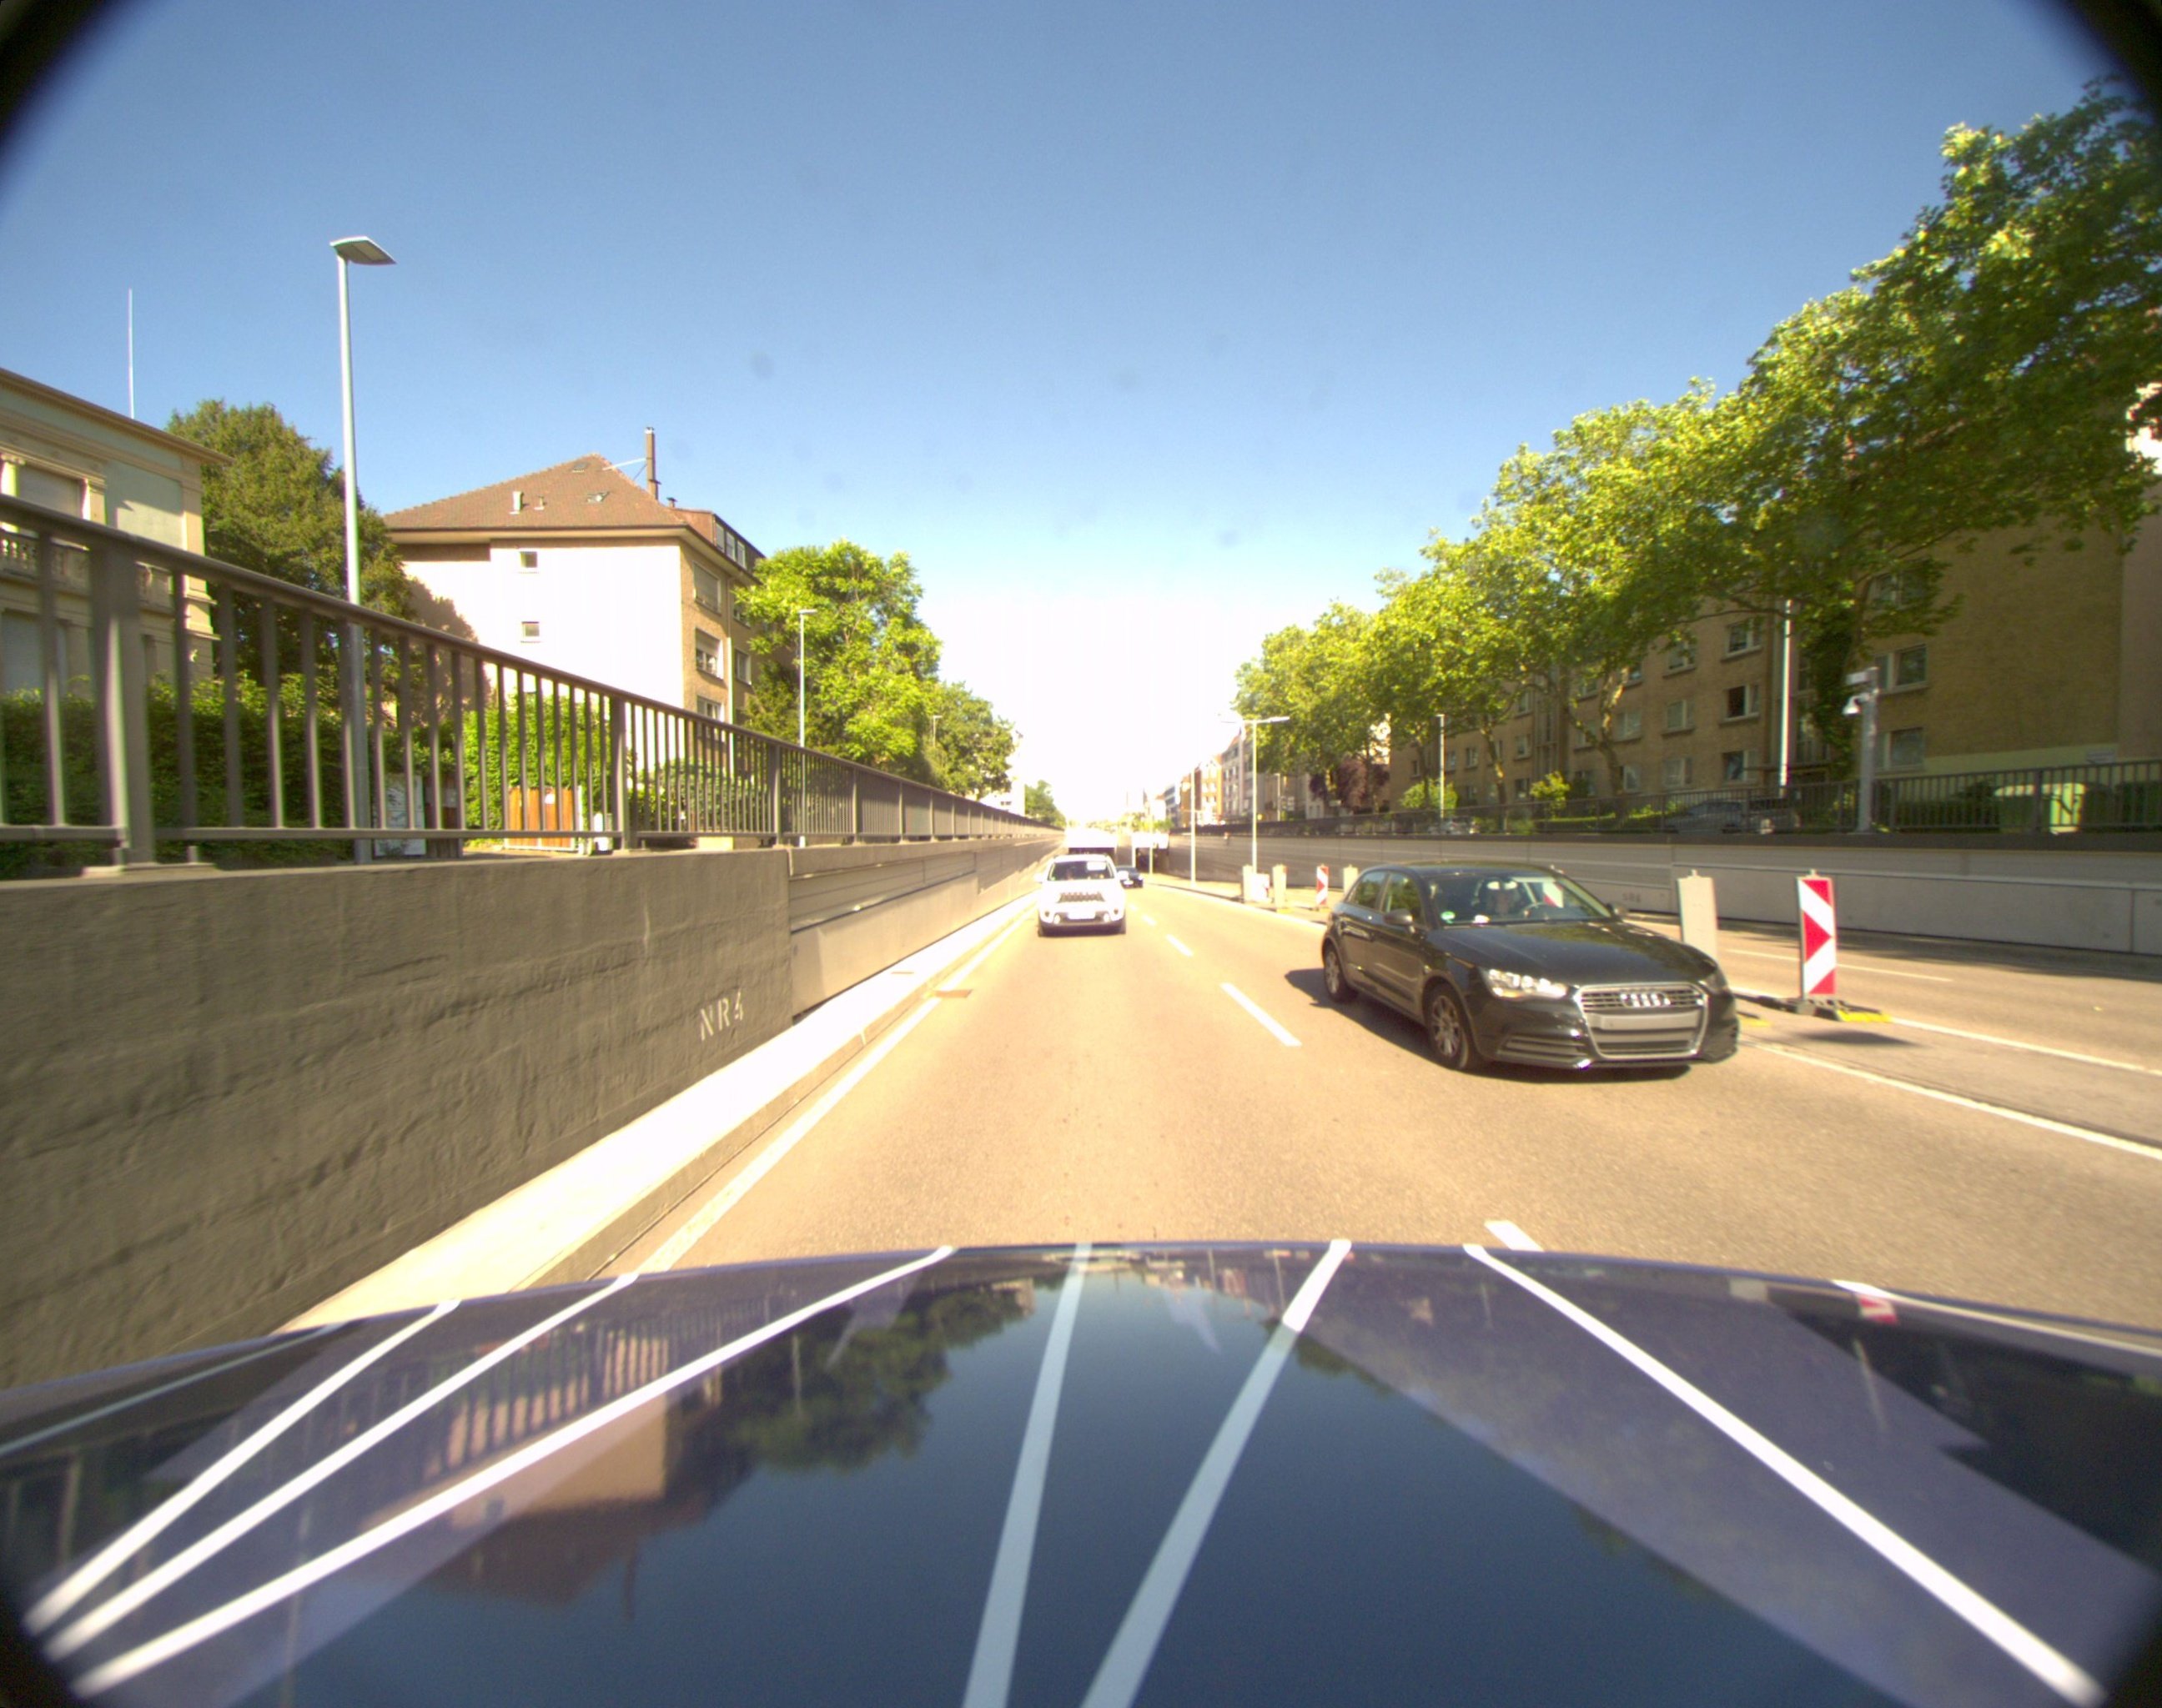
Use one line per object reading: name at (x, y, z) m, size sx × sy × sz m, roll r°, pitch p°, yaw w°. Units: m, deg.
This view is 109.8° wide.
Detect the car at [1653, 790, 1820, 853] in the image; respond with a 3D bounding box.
car at (22.536, -1.078, 26.404) m, size 1.970 × 1.949 × 4.413 m, roll -2°, pitch 1°, yaw 0°

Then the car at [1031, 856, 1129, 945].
car at (-0.003, 0.919, 16.903) m, size 1.855 × 1.658 × 3.970 m, roll -2°, pitch 0°, yaw 0°

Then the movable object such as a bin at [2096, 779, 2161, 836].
movable object such as a bin at (28.508, -1.239, 20.280) m, size 1.317 × 1.476 × 1.147 m, roll -2°, pitch 1°, yaw -2°

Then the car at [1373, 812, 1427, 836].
car at (22.722, -2.097, 54.325) m, size 1.926 × 1.575 × 4.302 m, roll -2°, pitch 1°, yaw -2°

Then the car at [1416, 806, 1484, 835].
car at (22.335, -2.017, 46.184) m, size 1.926 × 1.575 × 4.302 m, roll -2°, pitch 1°, yaw -2°

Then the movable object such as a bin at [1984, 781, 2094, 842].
movable object such as a bin at (24.863, -1.083, 19.751) m, size 1.209 × 1.476 × 1.357 m, roll -2°, pitch 1°, yaw -8°

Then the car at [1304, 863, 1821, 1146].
car at (3.272, 0.864, 6.186) m, size 1.700 × 1.410 × 3.887 m, roll -2°, pitch 1°, yaw 0°

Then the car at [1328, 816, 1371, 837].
car at (22.494, -2.271, 63.781) m, size 1.926 × 1.575 × 4.302 m, roll -2°, pitch 1°, yaw -2°

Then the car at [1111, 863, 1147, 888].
car at (2.964, 1.335, 48.113) m, size 1.998 × 1.407 × 4.000 m, roll -2°, pitch 0°, yaw 0°
